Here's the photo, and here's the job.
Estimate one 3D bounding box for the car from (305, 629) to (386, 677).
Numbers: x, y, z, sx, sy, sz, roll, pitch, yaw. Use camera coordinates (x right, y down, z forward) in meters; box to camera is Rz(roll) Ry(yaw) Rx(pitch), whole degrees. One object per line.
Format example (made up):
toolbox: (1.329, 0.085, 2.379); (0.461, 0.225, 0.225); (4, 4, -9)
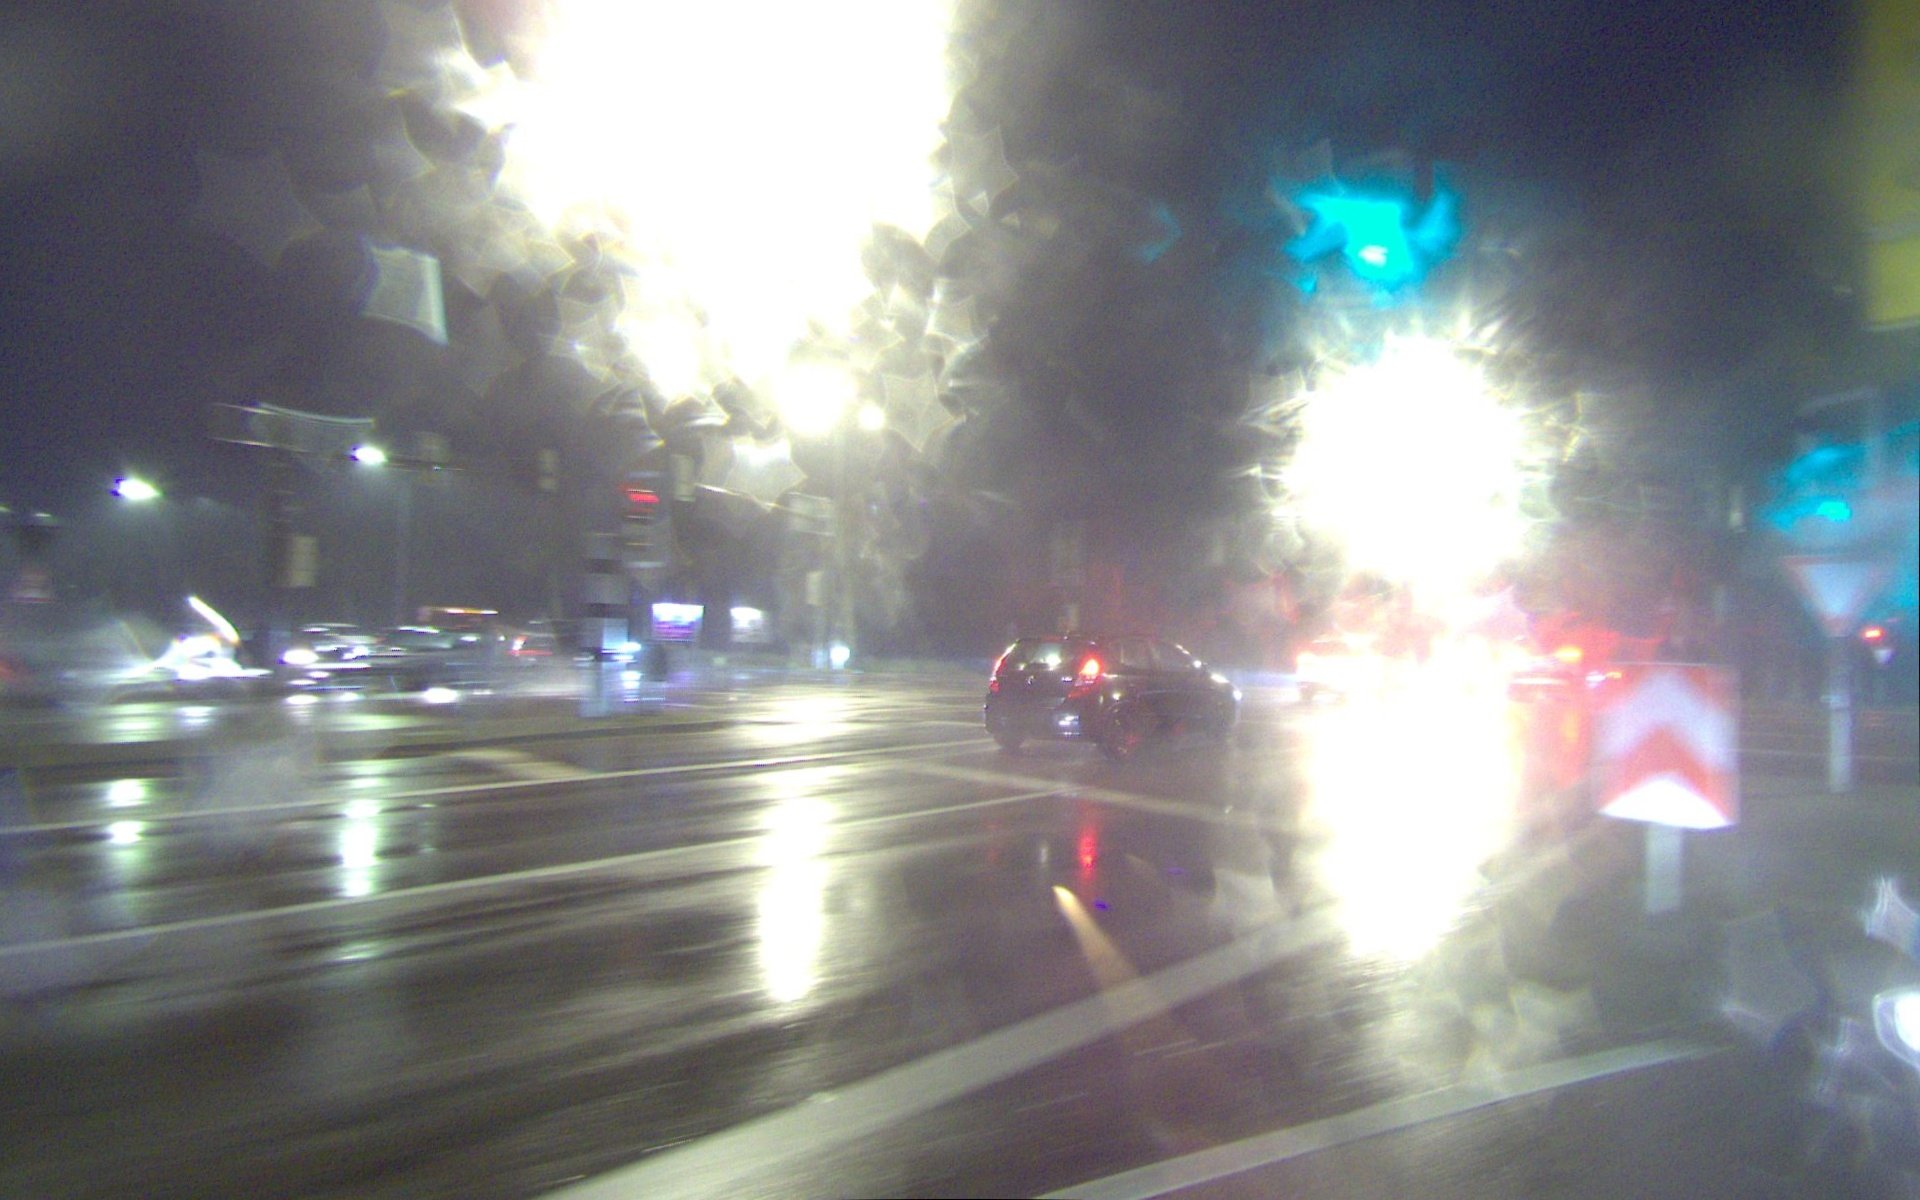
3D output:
car: (-28.077, 2.410, 45.869); (3.547, 1.963, 1.709); (2, -1, 32)

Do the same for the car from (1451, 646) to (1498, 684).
car: (31.084, 3.896, 60.658); (1.754, 2.106, 3.984); (3, -1, 38)

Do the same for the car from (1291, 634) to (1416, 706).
car: (8.973, 1.508, 22.711); (1.713, 1.455, 4.277); (-1, -2, 35)

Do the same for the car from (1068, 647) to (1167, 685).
car: (6.891, 2.906, 43.941); (3.986, 1.494, 1.823); (2, 0, -27)

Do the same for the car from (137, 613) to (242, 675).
car: (-29.225, 1.650, 38.080); (3.927, 2.107, 1.661); (2, -1, 29)

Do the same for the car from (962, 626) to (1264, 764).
car: (2.082, 1.071, 12.790); (1.811, 1.426, 4.097); (0, -1, 43)

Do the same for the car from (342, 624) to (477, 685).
car: (-17.405, 1.679, 31.705); (4.186, 1.654, 1.954); (2, -1, 33)

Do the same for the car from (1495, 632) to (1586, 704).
car: (14.843, 1.695, 25.715); (1.823, 1.612, 4.016); (2, -2, 30)

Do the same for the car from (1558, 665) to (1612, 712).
car: (27.077, 3.776, 43.611); (1.801, 1.675, 4.471); (2, 0, 30)

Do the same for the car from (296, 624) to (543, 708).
car: (-10.713, 1.265, 20.102); (1.704, 1.433, 4.005); (2, 0, 43)

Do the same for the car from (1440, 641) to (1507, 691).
car: (19.127, 2.433, 37.319); (1.883, 1.680, 3.977); (0, -3, 32)

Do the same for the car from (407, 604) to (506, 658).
car: (-20.829, 1.269, 41.555); (4.075, 2.051, 1.790); (2, -1, 33)

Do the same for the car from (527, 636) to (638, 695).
car: (-13.846, 2.358, 36.790); (4.075, 1.878, 1.663); (2, -1, 33)
